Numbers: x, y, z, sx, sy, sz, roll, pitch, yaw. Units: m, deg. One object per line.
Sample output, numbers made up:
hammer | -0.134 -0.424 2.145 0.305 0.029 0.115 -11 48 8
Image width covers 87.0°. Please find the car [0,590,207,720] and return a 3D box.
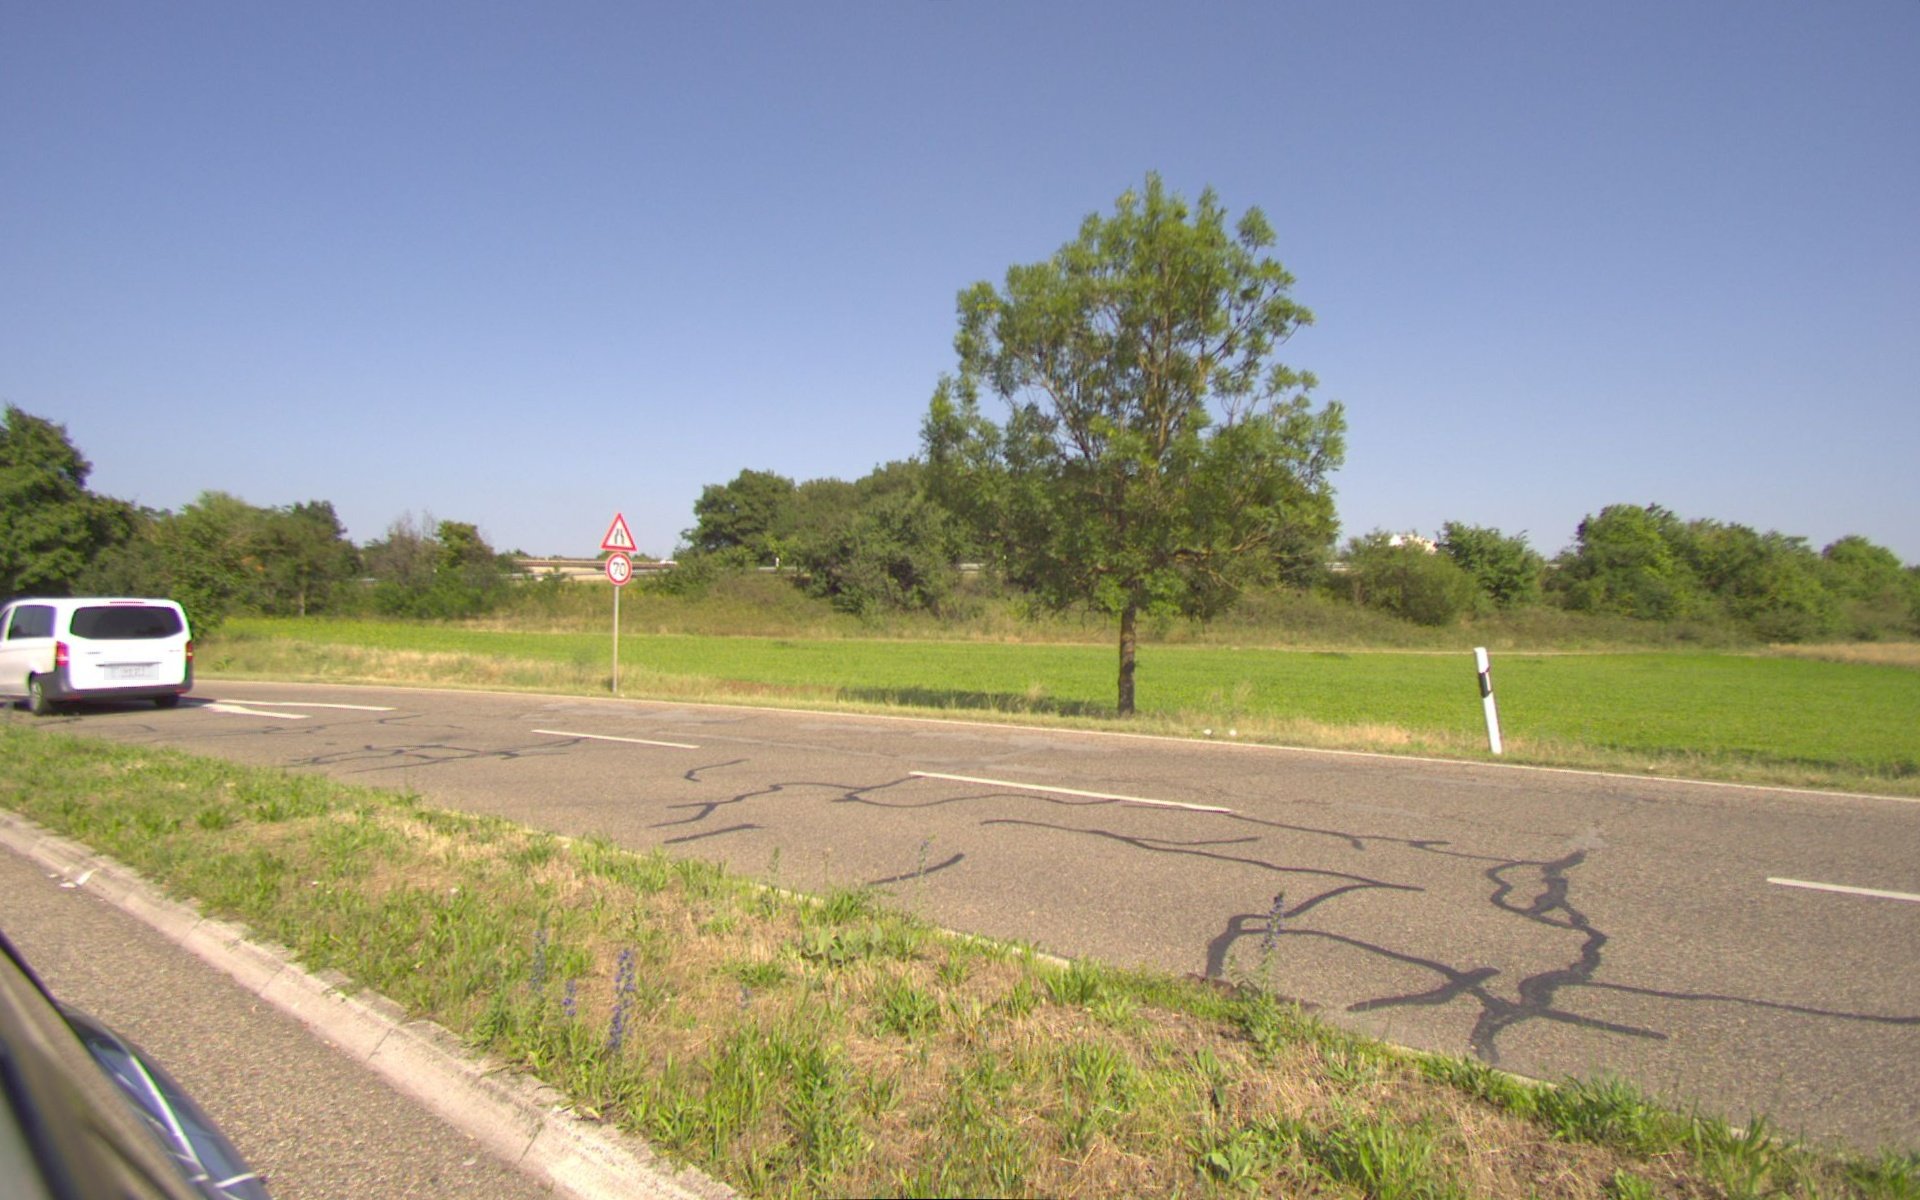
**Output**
car | -15.011 0.871 17.204 4.933 1.932 1.978 -2 -1 33
